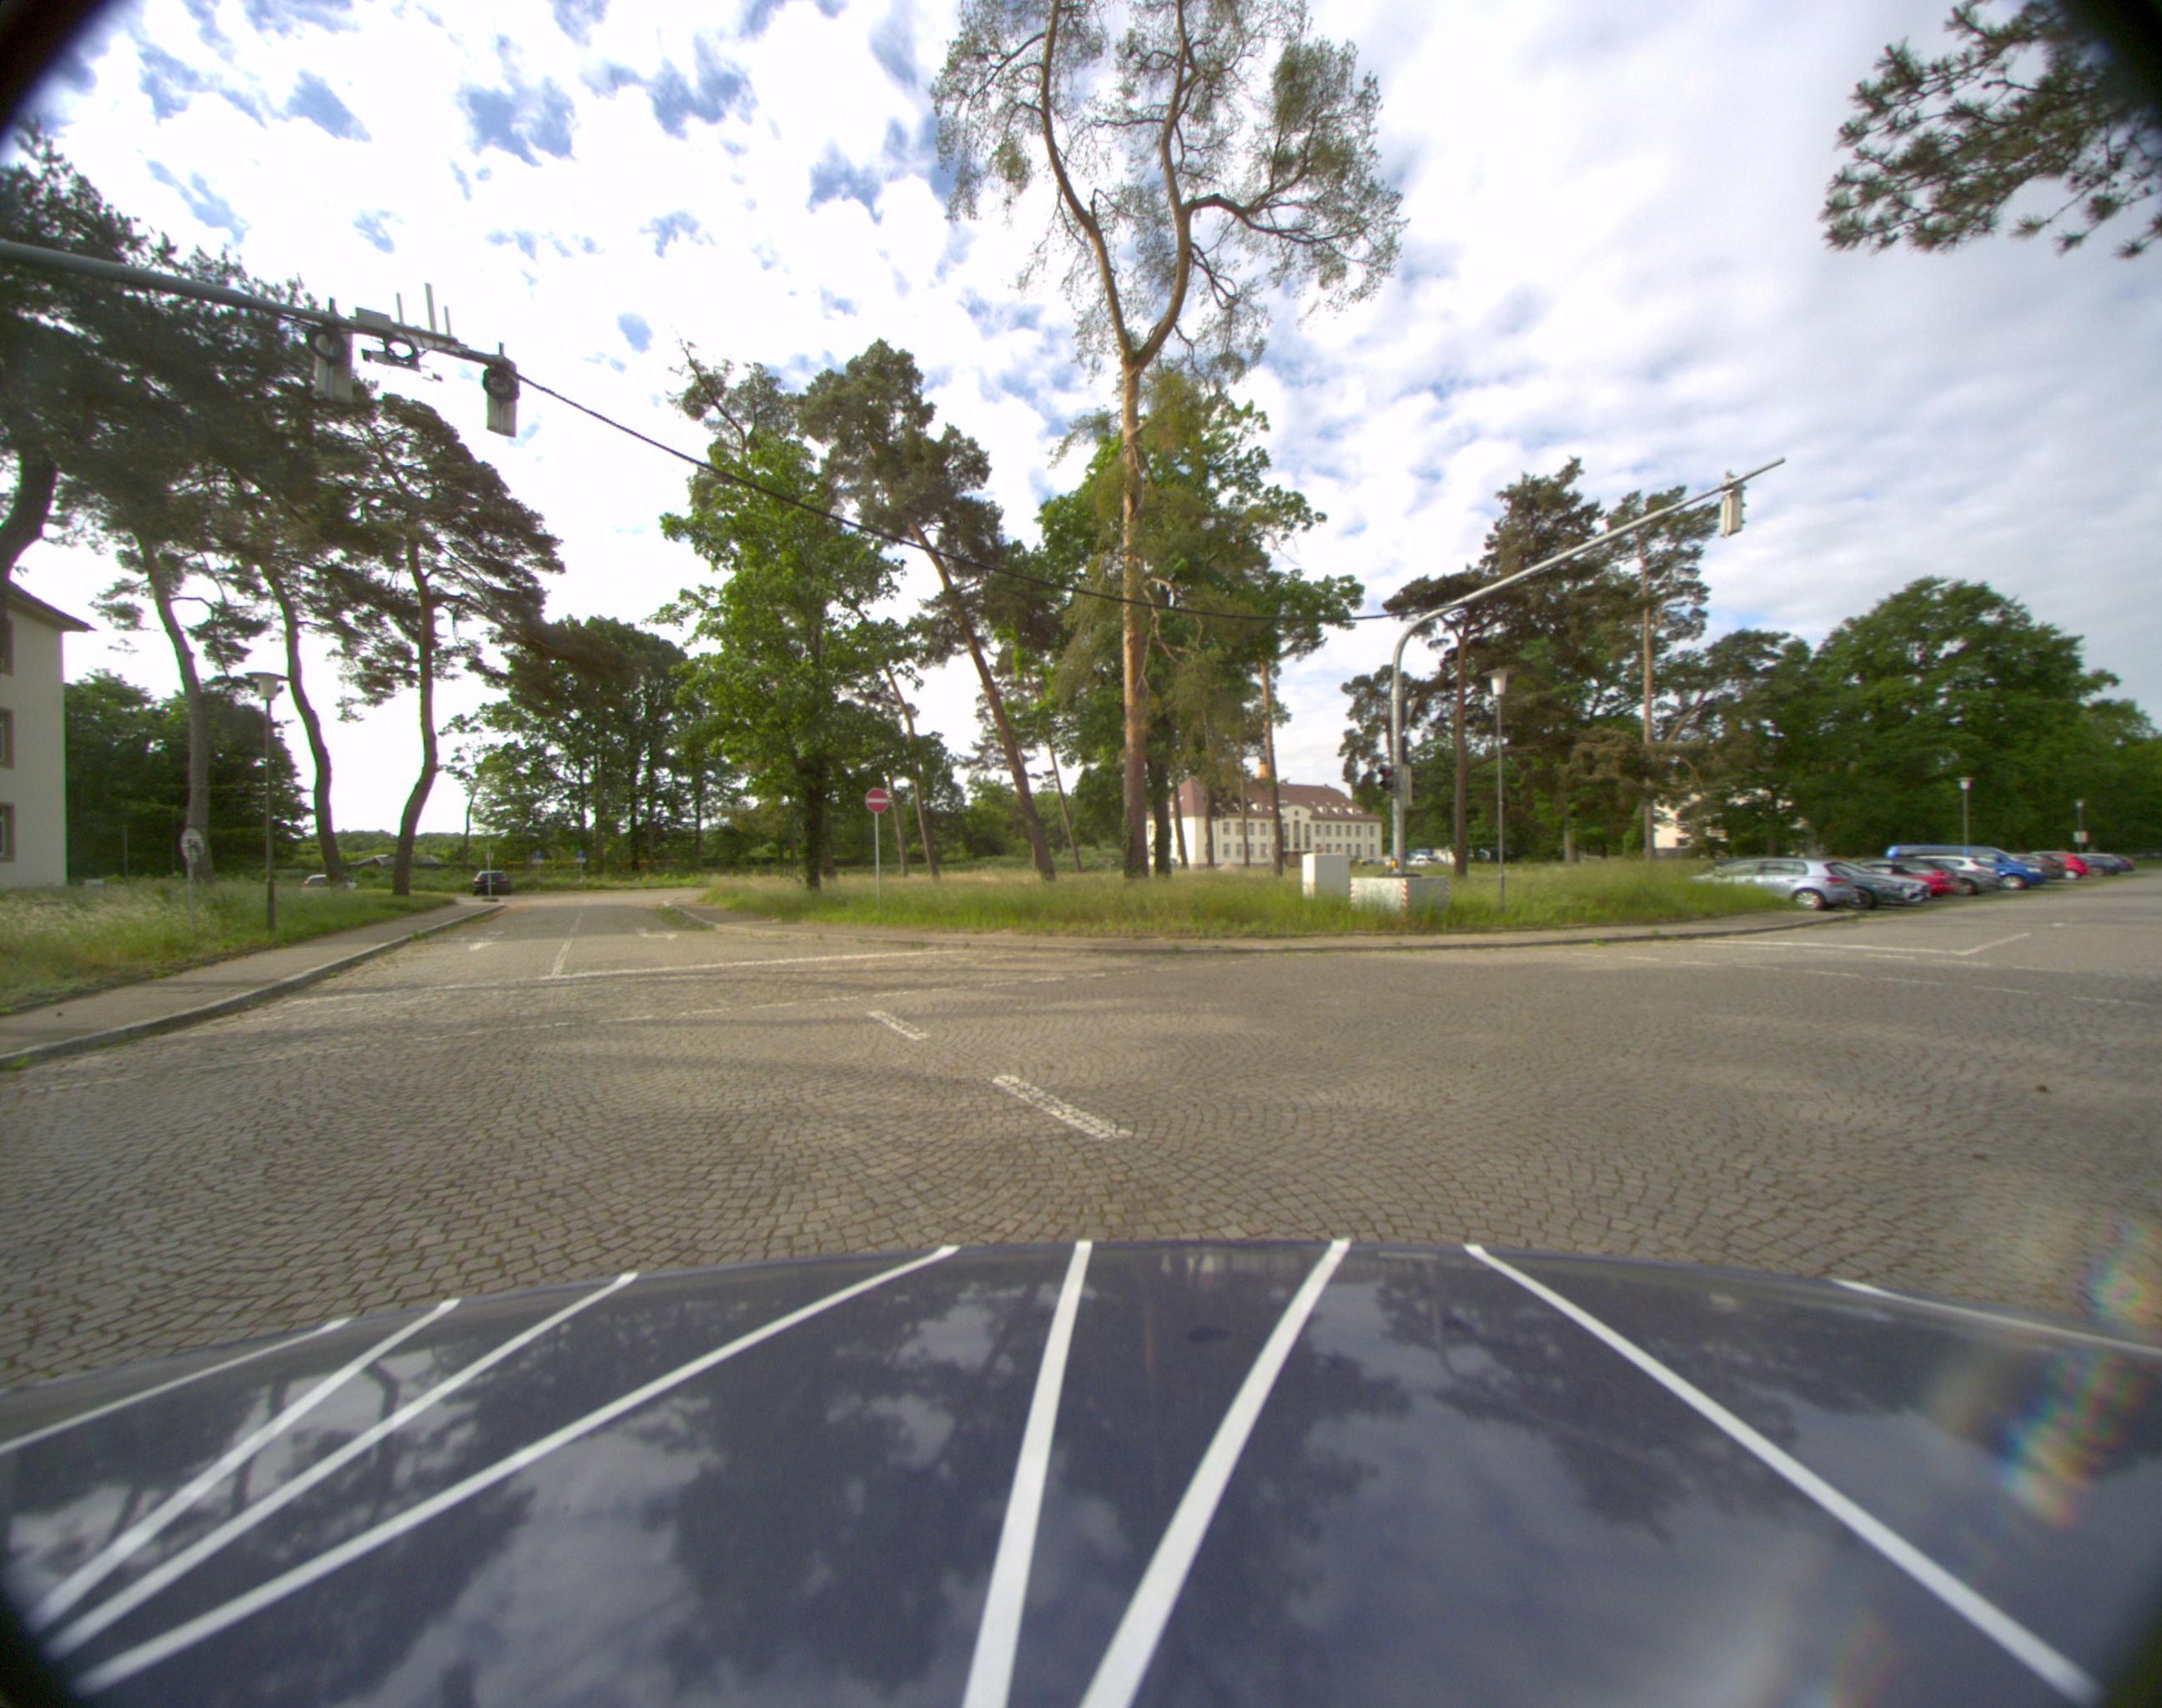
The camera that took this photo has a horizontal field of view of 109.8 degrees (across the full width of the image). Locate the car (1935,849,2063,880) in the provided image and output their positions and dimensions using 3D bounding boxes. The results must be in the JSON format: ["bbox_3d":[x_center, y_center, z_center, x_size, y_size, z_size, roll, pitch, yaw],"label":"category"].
[{"bbox_3d":[47.661,0.513,39.534,1.872,1.495,3.991,-1,0,-29],"label":"car"}]

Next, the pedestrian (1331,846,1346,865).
[{"bbox_3d":[29.560,0.216,87.308,1.057,2.165,1.182,-1,1,-32],"label":"pedestrian"}]

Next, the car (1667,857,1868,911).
[{"bbox_3d":[19.872,0.811,22.174,1.799,1.410,3.990,-1,0,-31],"label":"car"}]

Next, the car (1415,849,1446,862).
[{"bbox_3d":[54.706,0.244,119.015,4.843,2.002,2.162,-1,0,-34],"label":"car"}]

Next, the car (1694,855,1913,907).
[{"bbox_3d":[22.168,0.774,23.540,1.800,1.437,4.622,-1,0,-31],"label":"car"}]

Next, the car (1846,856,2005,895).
[{"bbox_3d":[33.260,0.801,30.031,1.800,1.427,3.926,-1,0,-31],"label":"car"}]

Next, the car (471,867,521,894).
[{"bbox_3d":[-36.778,1.639,47.848,2.003,1.524,3.990,-1,0,-31],"label":"car"}]

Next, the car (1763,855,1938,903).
[{"bbox_3d":[26.435,0.791,26.242,1.799,1.504,3.927,-1,0,-29],"label":"car"}]

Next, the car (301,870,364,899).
[{"bbox_3d":[-43.640,1.749,44.398,1.776,1.524,3.685,-1,0,-31],"label":"car"}]

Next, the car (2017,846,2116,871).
[{"bbox_3d":[65.241,0.295,50.349,2.003,1.560,3.785,-1,0,-30],"label":"car"}]

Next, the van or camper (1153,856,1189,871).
[{"bbox_3d":[14.830,1.567,125.600,2.469,2.293,6.112,-1,0,-34],"label":"van or camper"}]

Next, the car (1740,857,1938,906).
[{"bbox_3d":[24.579,0.830,24.825,1.799,1.437,4.260,-1,0,-29],"label":"car"}]

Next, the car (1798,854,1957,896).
[{"bbox_3d":[30.574,0.768,29.273,1.799,1.467,3.926,-1,0,-30],"label":"car"}]

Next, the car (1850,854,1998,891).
[{"bbox_3d":[35.557,0.731,32.144,1.800,1.440,3.926,-1,0,-31],"label":"car"}]

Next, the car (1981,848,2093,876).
[{"bbox_3d":[56.452,0.472,44.927,2.004,1.560,3.990,-1,0,-35],"label":"car"}]

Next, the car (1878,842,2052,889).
[{"bbox_3d":[40.150,0.483,34.665,2.003,2.002,4.834,-1,0,-28],"label":"car"}]

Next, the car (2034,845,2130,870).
[{"bbox_3d":[69.153,0.239,52.556,2.003,1.615,3.785,-1,0,-30],"label":"car"}]

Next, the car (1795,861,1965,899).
[{"bbox_3d":[28.645,0.895,27.373,1.799,1.227,3.926,-1,0,-30],"label":"car"}]
